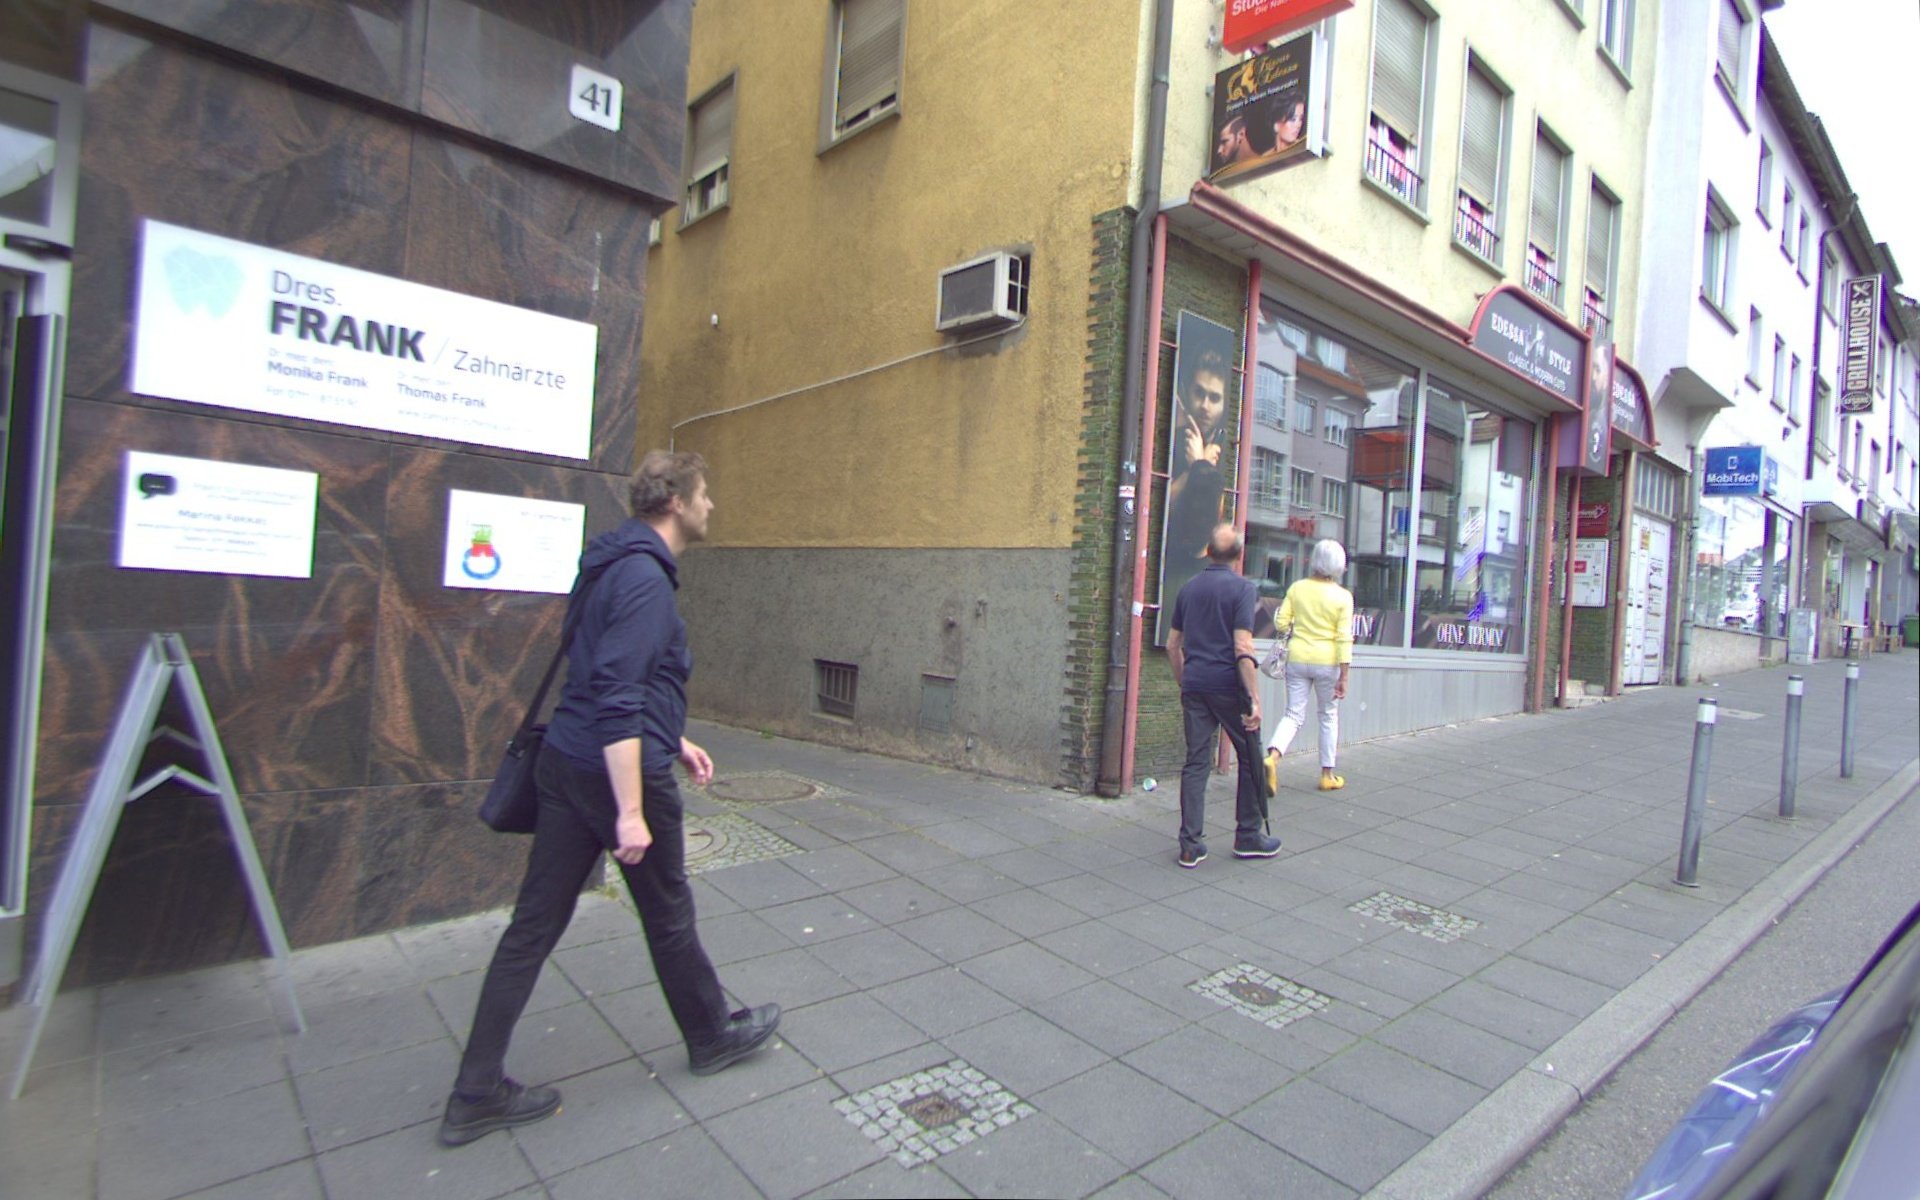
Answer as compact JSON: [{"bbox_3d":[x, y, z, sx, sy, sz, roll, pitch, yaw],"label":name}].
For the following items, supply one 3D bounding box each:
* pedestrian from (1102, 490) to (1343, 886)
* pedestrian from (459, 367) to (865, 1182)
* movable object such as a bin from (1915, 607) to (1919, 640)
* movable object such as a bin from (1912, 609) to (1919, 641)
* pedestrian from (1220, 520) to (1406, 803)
[{"bbox_3d":[1.305,0.378,5.069,0.771,1.773,0.713,1,5,-41],"label":"pedestrian"},{"bbox_3d":[-0.808,0.366,2.711,0.773,1.774,0.713,0,3,-41],"label":"pedestrian"},{"bbox_3d":[30.656,0.756,31.946,0.550,1.043,0.670,1,1,-41],"label":"movable object such as a bin"},{"bbox_3d":[30.170,0.785,31.588,0.489,0.968,0.568,1,1,-41],"label":"movable object such as a bin"},{"bbox_3d":[2.252,0.347,6.461,0.820,1.651,0.713,1,4,-41],"label":"pedestrian"}]
